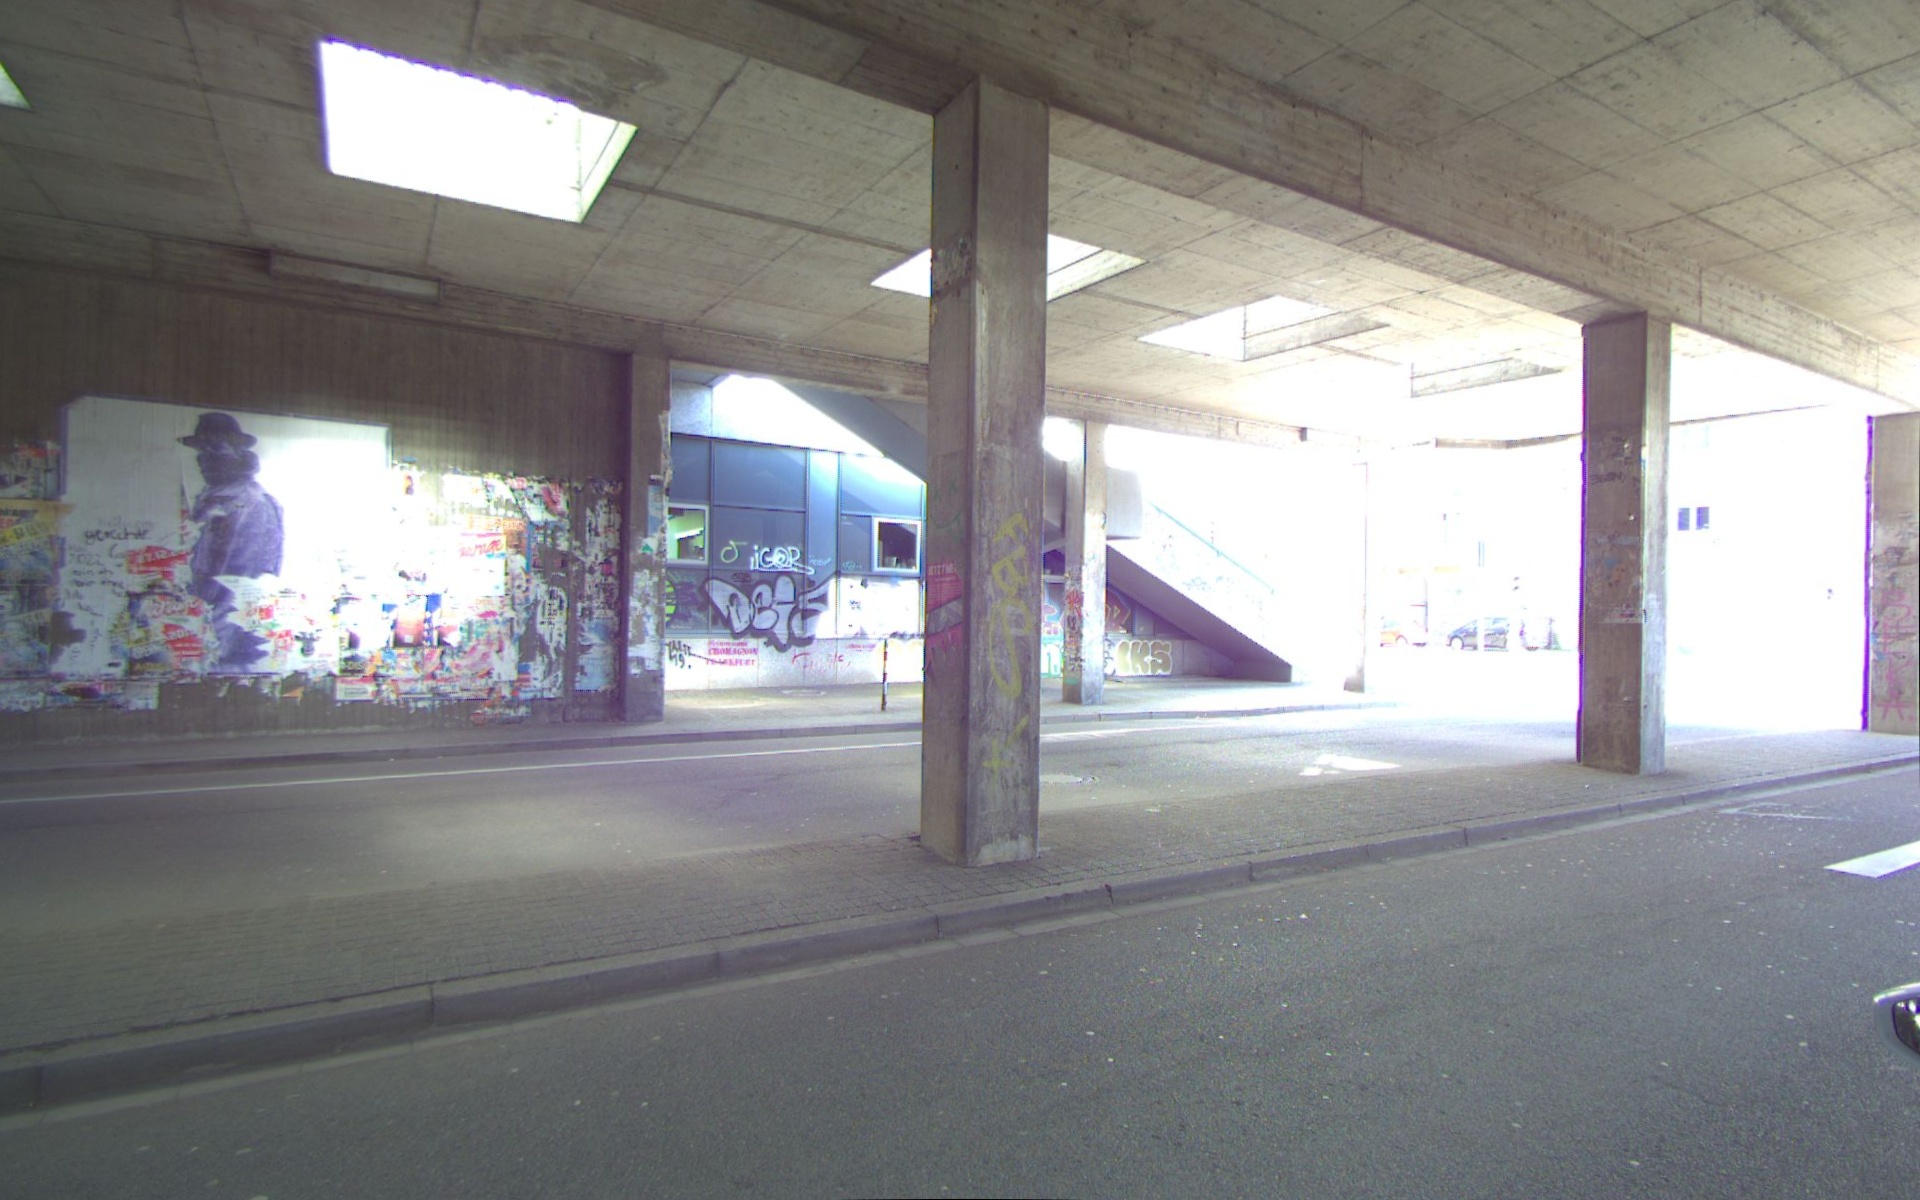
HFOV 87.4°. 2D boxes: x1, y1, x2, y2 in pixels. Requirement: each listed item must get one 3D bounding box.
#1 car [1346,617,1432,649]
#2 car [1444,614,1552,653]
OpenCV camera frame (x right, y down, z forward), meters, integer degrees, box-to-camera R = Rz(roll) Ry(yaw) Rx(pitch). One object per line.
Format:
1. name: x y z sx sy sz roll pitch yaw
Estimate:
1. car: 22.438 1.691 52.660 1.876 1.561 3.861 0 0 -29
2. car: 25.435 1.549 47.635 1.939 1.747 4.141 0 0 -29
